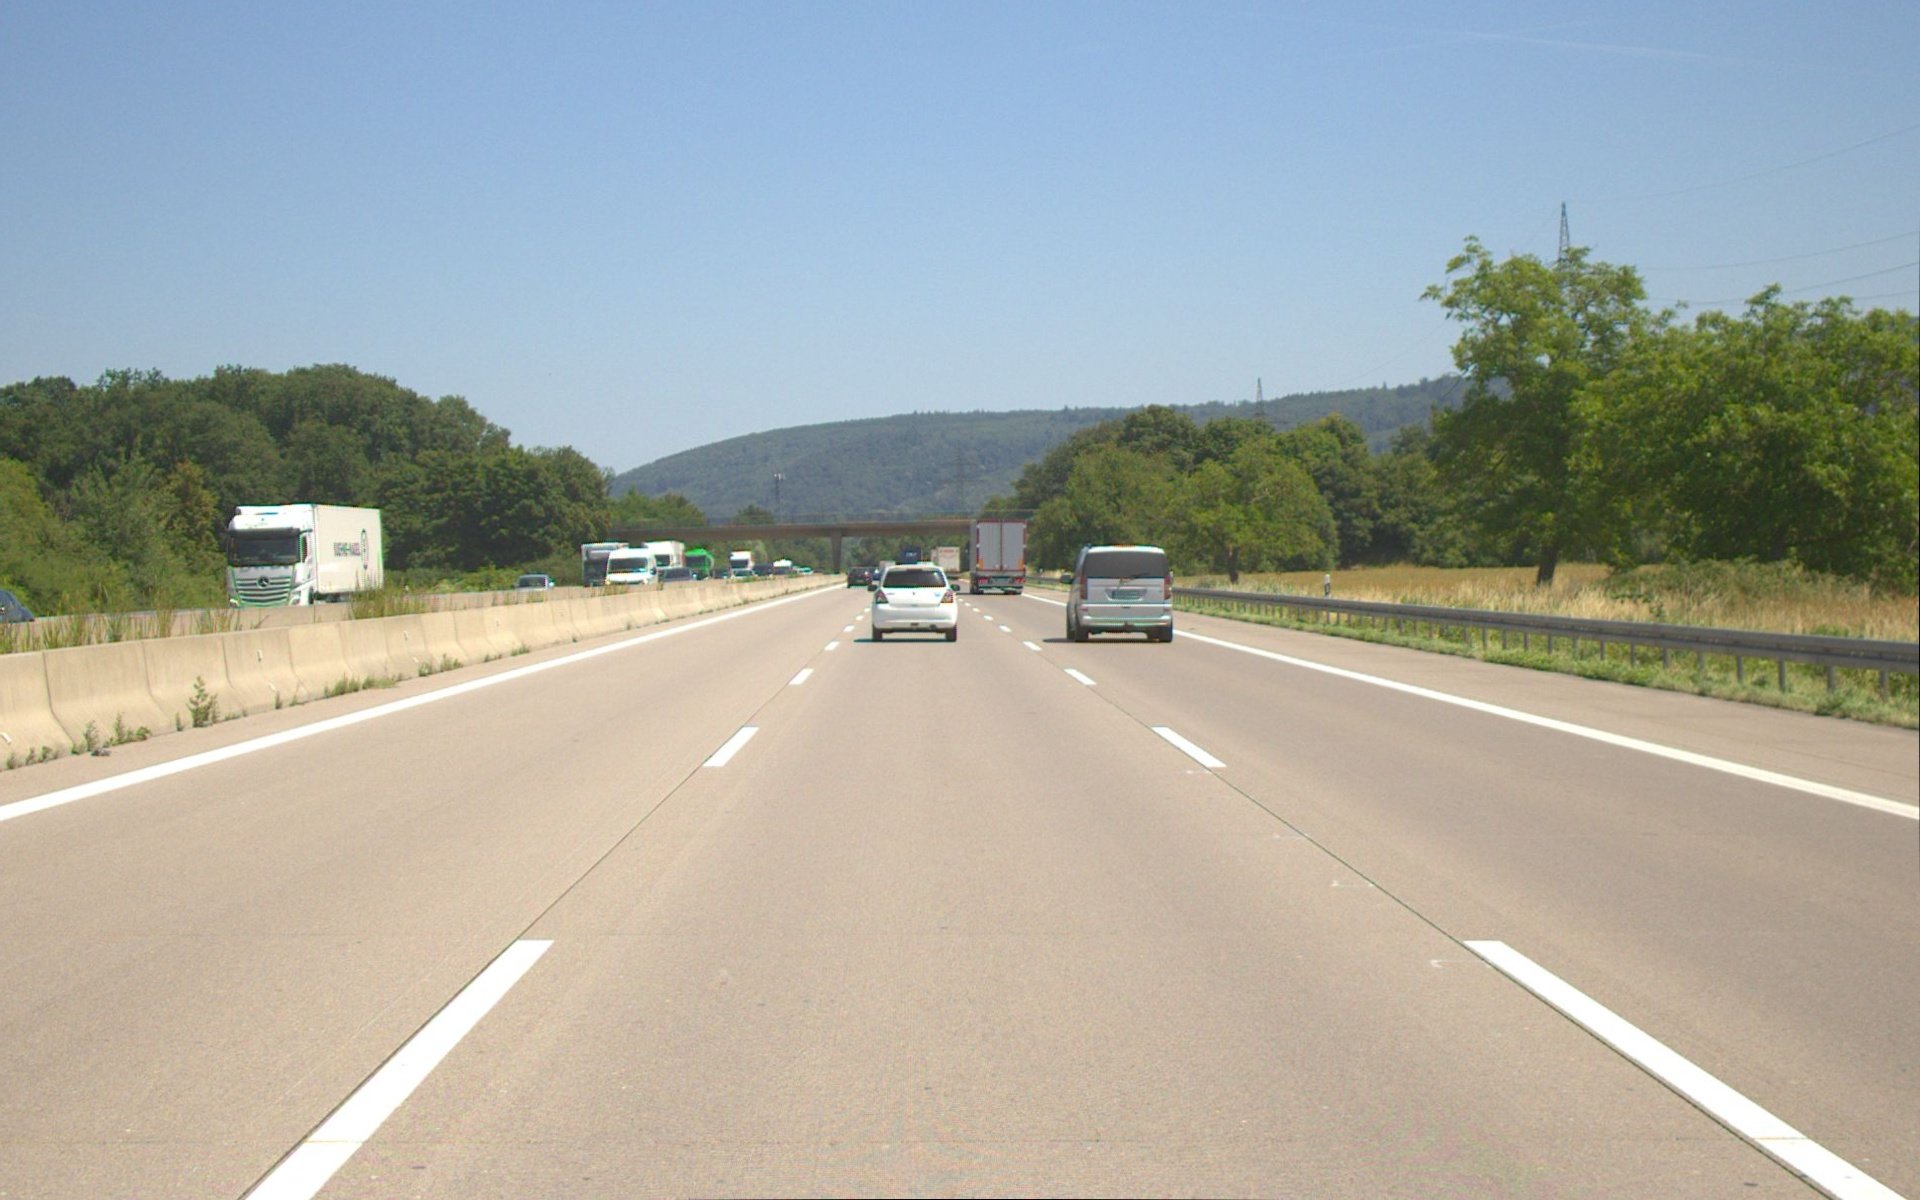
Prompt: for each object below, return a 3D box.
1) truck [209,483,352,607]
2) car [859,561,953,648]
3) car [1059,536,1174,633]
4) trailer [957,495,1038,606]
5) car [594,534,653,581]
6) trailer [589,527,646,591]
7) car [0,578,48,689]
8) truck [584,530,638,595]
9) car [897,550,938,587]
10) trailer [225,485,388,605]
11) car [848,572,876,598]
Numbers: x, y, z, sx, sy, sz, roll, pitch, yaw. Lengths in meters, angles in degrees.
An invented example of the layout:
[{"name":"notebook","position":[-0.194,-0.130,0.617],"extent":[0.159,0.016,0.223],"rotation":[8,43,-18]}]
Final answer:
[{"name":"truck","position":[-22.197,-1.812,112.770],"extent":[3.161,3.895,8.373],"rotation":[1,1,-1]},{"name":"car","position":[-1.096,0.061,68.806],"extent":[1.819,1.656,4.000],"rotation":[0,1,-1]},{"name":"car","position":[3.072,-0.336,68.249],"extent":[1.993,1.842,4.000],"rotation":[1,1,-1]},{"name":"trailer","position":[1.957,-2.678,185.699],"extent":[3.720,5.791,12.163],"rotation":[0,1,-2]},{"name":"car","position":[-14.774,-1.890,151.213],"extent":[2.068,2.007,5.981],"rotation":[1,1,-1]},{"name":"trailer","position":[-22.572,-2.705,226.924],"extent":[2.953,4.091,8.484],"rotation":[1,1,0]},{"name":"car","position":[-17.577,0.577,60.155],"extent":[1.993,1.875,4.692],"rotation":[1,1,0]},{"name":"truck","position":[-22.580,-2.440,222.758],"extent":[2.953,4.113,5.086],"rotation":[1,1,0]},{"name":"car","position":[-2.227,-1.675,180.318],"extent":[1.993,1.842,4.000],"rotation":[2,1,-2]},{"name":"trailer","position":[-22.291,-1.888,118.100],"extent":[3.161,3.825,14.032],"rotation":[1,1,-1]},{"name":"car","position":[-6.902,-1.058,242.885],"extent":[1.928,1.787,4.000],"rotation":[1,1,-1]}]
